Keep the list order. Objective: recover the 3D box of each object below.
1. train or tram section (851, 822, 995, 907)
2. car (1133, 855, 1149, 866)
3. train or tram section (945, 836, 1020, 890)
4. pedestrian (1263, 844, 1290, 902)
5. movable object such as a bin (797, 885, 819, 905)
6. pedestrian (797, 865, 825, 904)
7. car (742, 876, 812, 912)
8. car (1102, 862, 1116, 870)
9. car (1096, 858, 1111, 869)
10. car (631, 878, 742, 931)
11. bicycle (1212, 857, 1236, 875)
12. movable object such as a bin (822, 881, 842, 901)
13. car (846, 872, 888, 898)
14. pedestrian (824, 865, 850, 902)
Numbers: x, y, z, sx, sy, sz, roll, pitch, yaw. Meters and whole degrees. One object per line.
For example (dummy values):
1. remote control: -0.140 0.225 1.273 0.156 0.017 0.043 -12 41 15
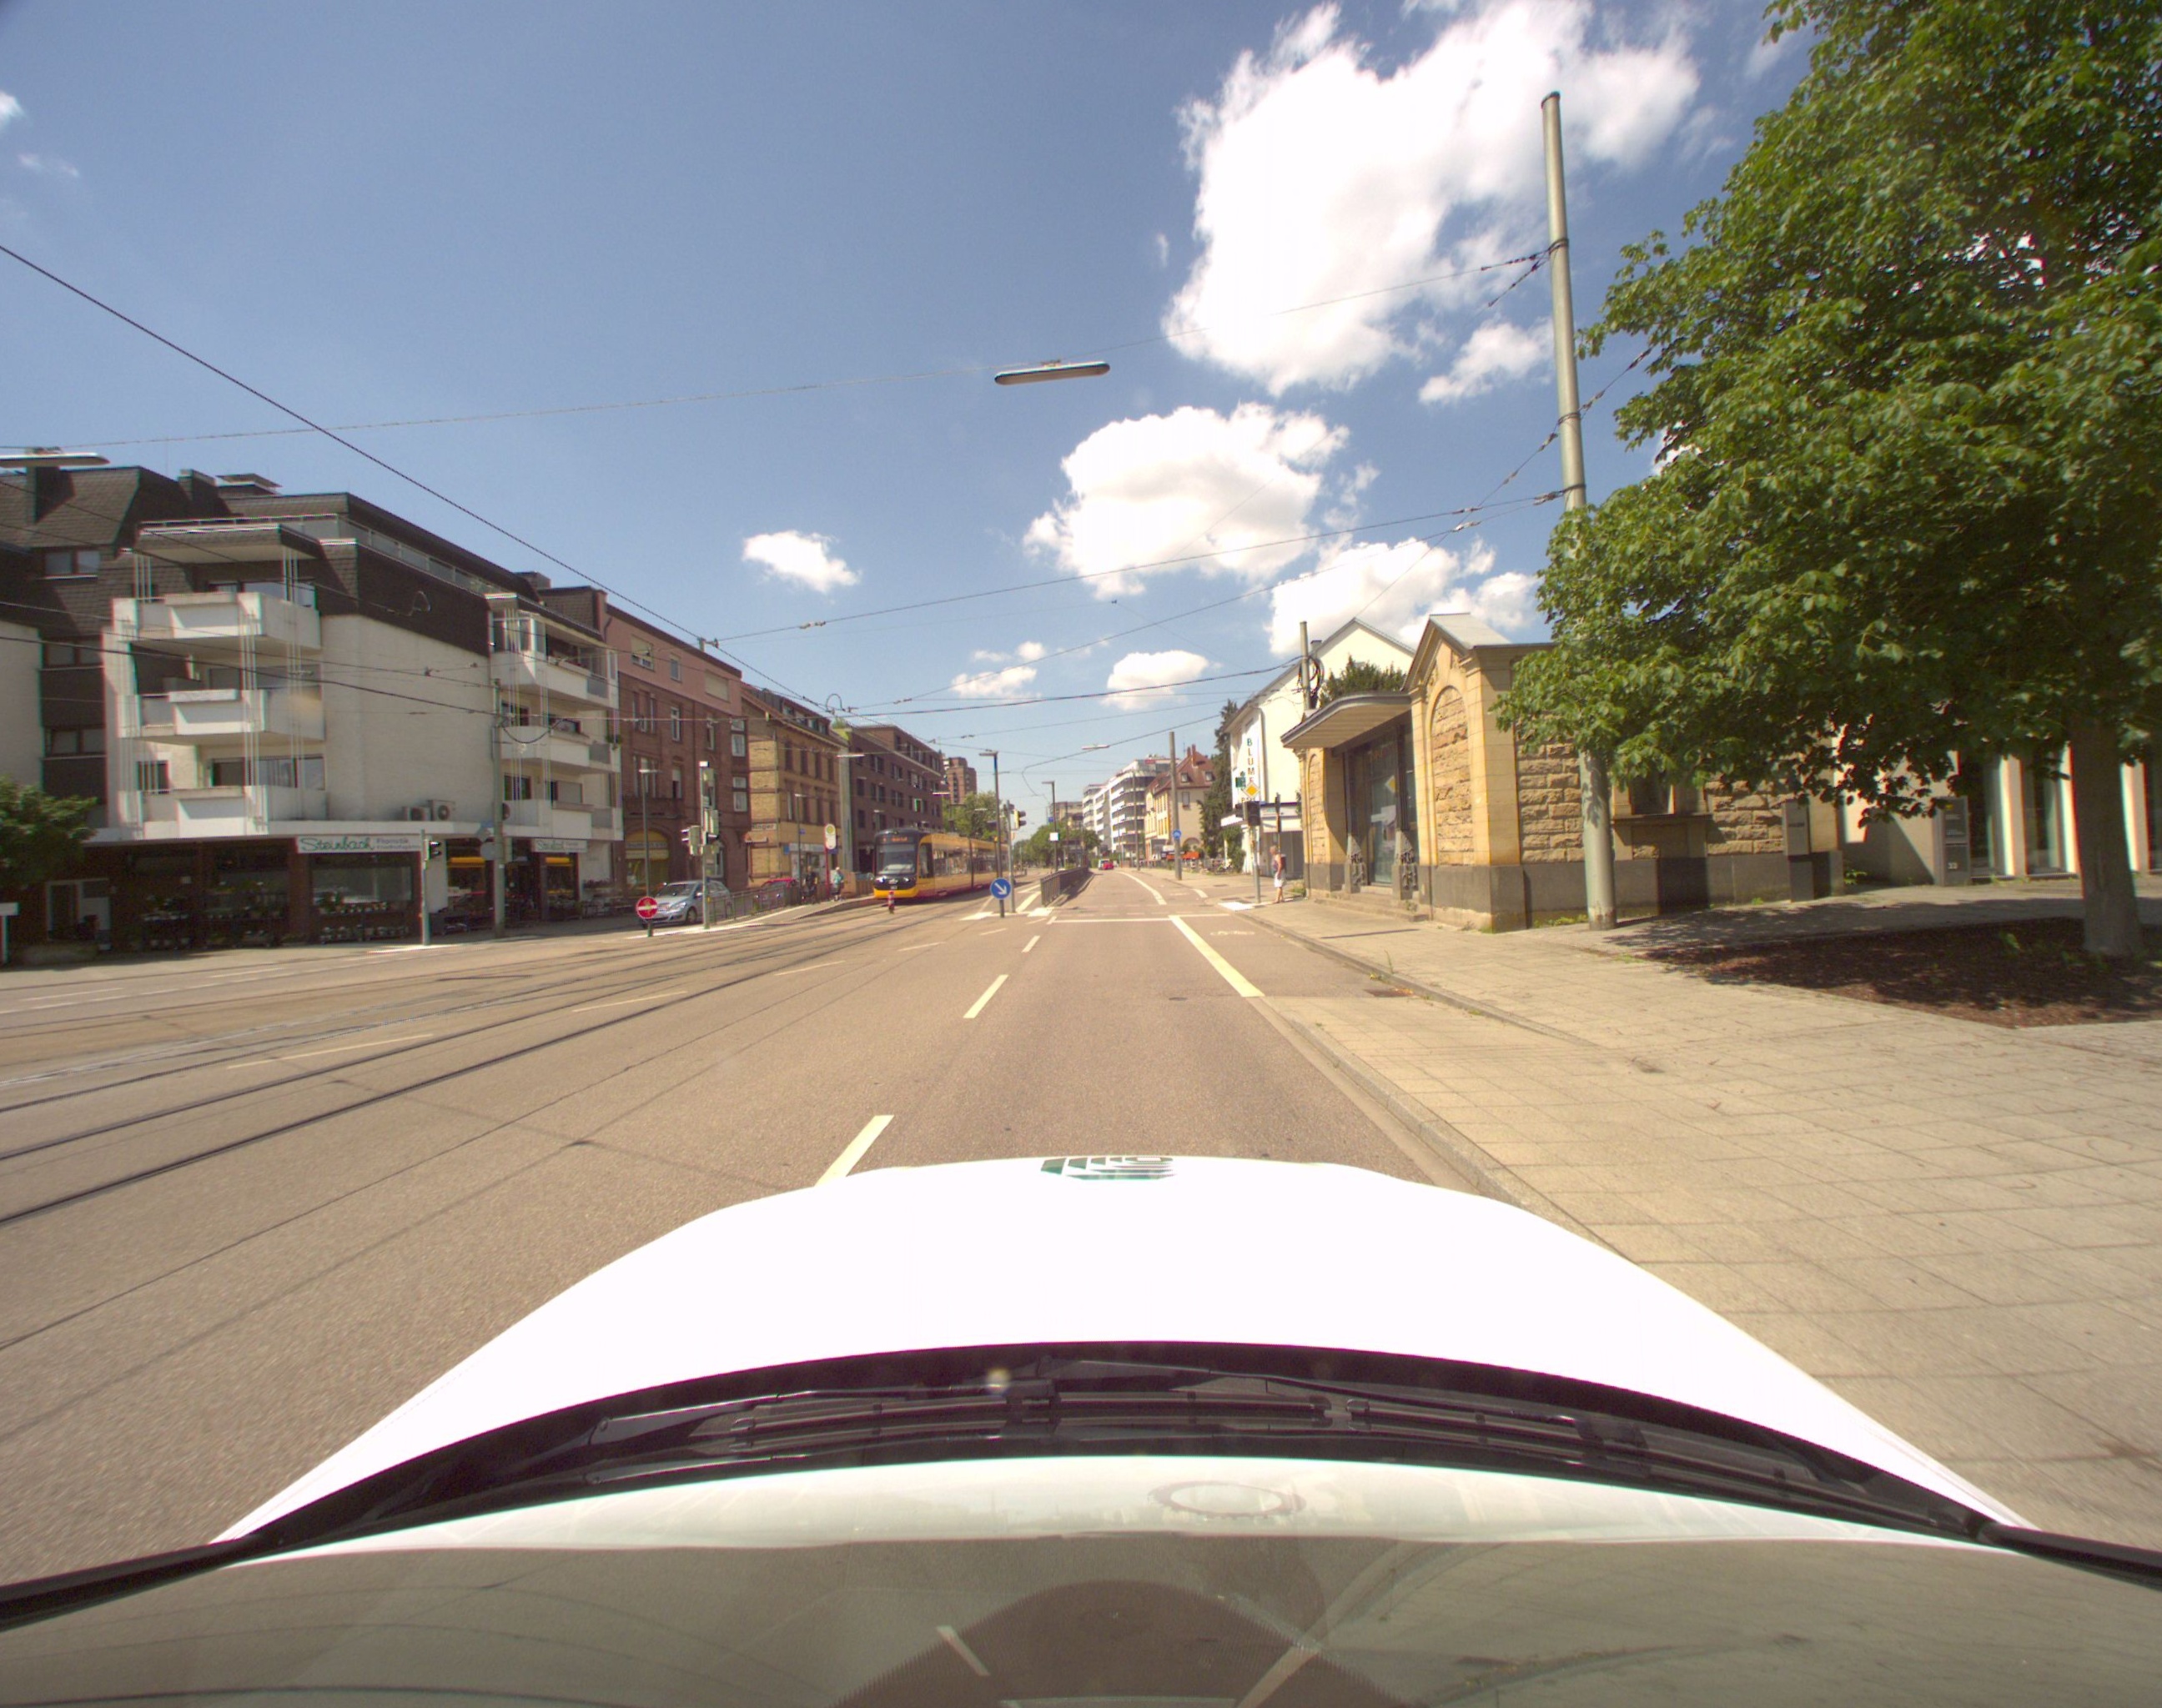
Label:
1. train or tram section: -7.974 0.597 45.681 3.238 3.567 20.508 -3 -1 2
2. car: 10.061 1.166 136.595 1.874 1.624 4.634 -5 -1 -3
3. train or tram section: -7.363 0.735 63.898 3.223 3.567 16.355 -3 -1 2
4. pedestrian: 5.764 0.542 24.034 0.558 1.666 0.685 -3 -1 24
5. movable object such as a bin: -11.238 1.682 33.501 0.673 0.780 0.538 -3 -1 0
6. pedestrian: -11.238 1.275 33.908 0.782 1.560 0.920 -3 -1 1
7. car: -14.276 1.854 38.477 1.648 1.444 3.855 -3 0 2
8. car: 5.001 2.147 146.700 1.990 1.442 4.011 -3 -1 -4
9. car: 4.177 1.806 153.203 1.991 1.991 5.503 -4 0 -6
10. car: -14.488 1.796 30.207 1.729 1.615 4.605 -3 0 1
11. bicycle: 9.784 0.834 55.852 1.524 1.086 0.430 -5 -1 7
12. movable object such as a bin: -10.864 1.616 35.553 0.673 0.780 0.619 -3 -1 0
13. car: -13.853 1.993 52.917 1.645 1.456 3.789 -3 0 1
14. pedestrian: -10.841 1.304 36.213 0.782 1.560 0.920 -3 -1 1
